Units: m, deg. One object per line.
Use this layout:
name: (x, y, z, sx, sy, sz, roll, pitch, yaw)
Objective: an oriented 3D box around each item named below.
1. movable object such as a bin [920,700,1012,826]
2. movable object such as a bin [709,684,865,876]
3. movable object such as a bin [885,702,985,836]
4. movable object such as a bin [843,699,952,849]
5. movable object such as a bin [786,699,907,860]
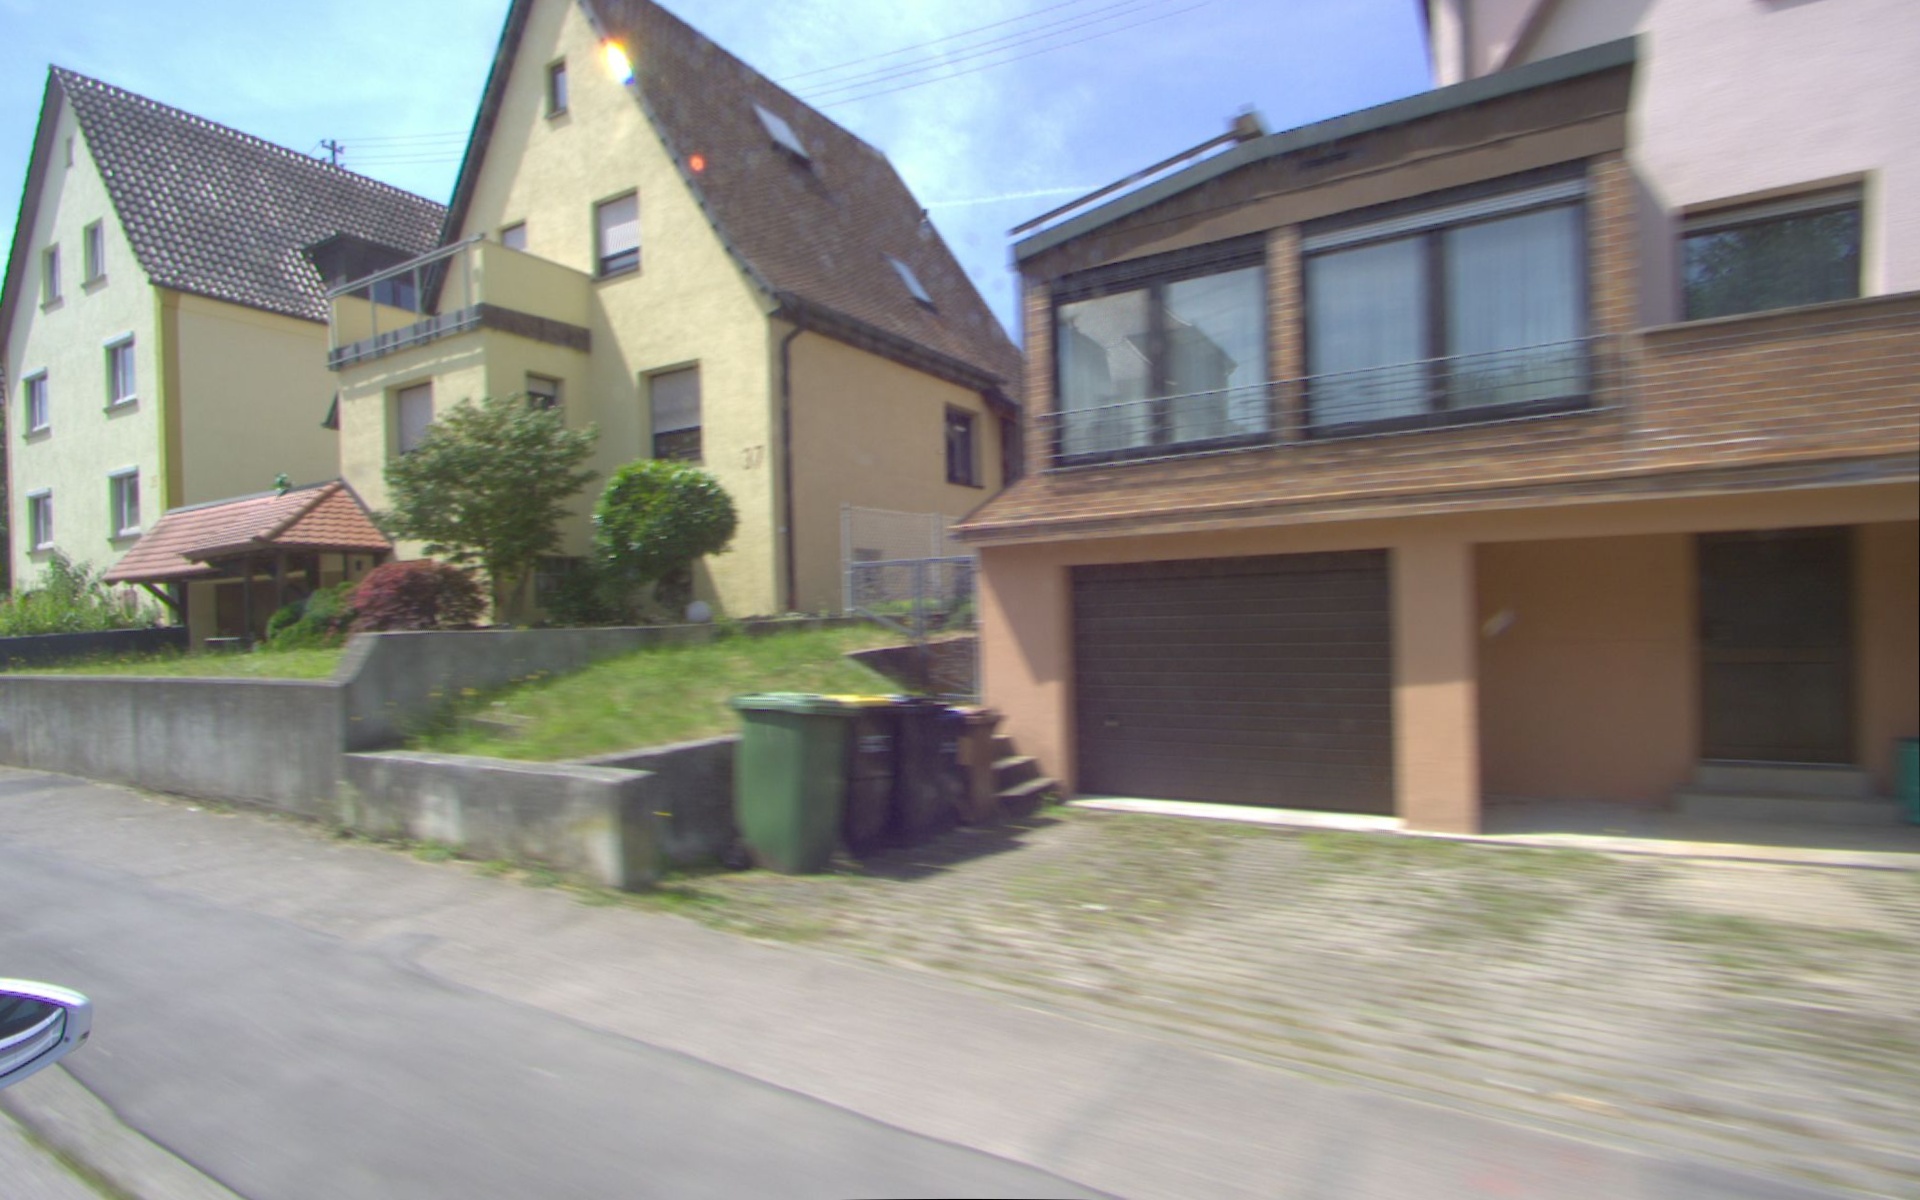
movable object such as a bin: (0.052, 1.334, 8.345, 0.555, 0.963, 0.527, 0, -4, 32)
movable object such as a bin: (-1.080, 1.090, 6.300, 0.723, 1.091, 0.583, 0, -4, 32)
movable object such as a bin: (-0.190, 1.297, 7.832, 0.555, 0.962, 0.528, 0, -5, 32)
movable object such as a bin: (-0.451, 1.242, 7.306, 0.555, 1.001, 0.528, 0, -5, 32)
movable object such as a bin: (-0.764, 1.197, 6.812, 0.555, 1.001, 0.528, 0, -6, 32)
